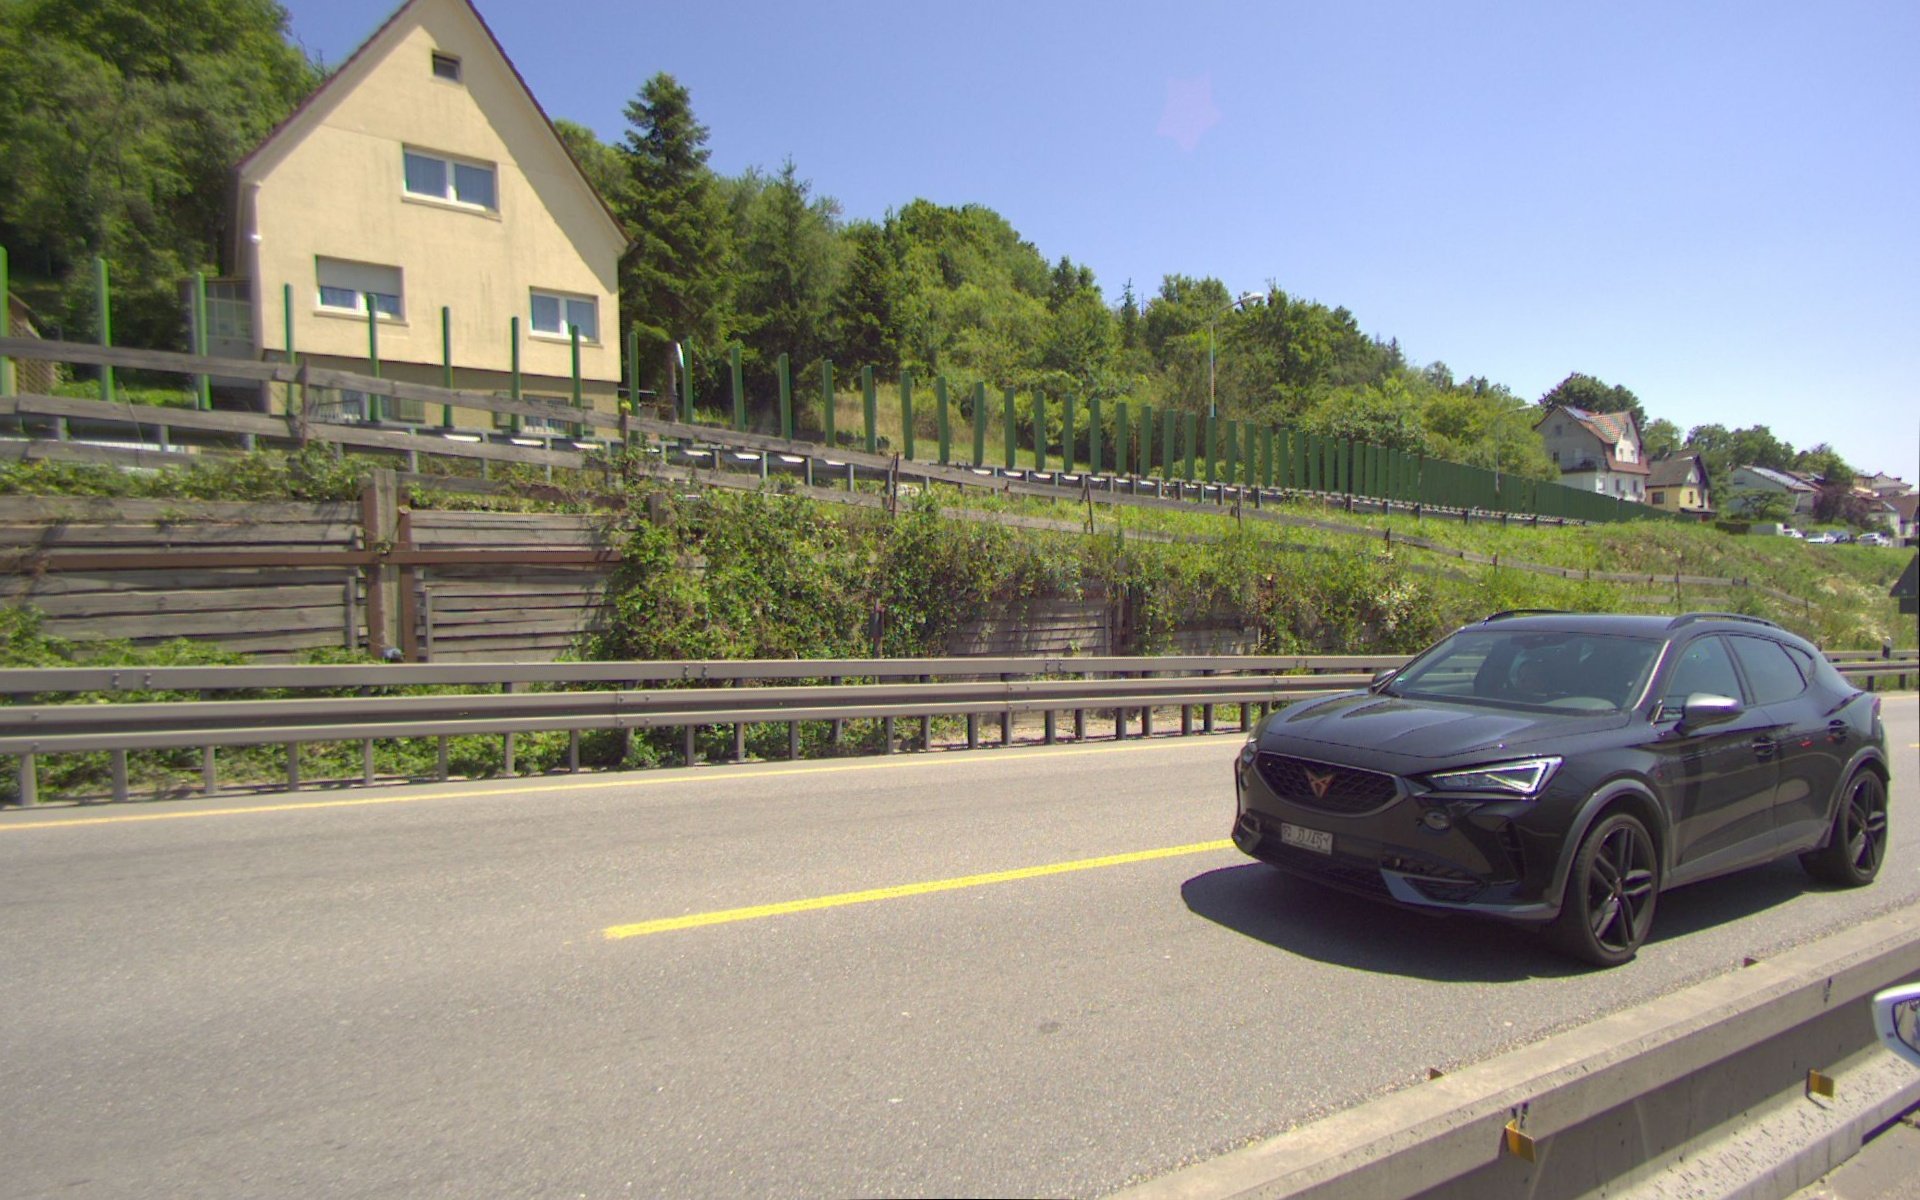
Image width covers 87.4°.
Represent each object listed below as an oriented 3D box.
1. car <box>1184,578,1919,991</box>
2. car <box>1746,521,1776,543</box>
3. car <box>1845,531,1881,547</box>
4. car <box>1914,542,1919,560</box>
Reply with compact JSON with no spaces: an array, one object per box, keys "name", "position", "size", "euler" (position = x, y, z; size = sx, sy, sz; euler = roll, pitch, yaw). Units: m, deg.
[{"name":"car","position":[3.494,0.756,5.651],"size":[4.244,1.550,1.834],"euler":[2,-1,-30]},{"name":"car","position":[62.127,-5.252,77.932],"size":[1.706,1.417,3.785],"euler":[3,1,38]},{"name":"car","position":[87.241,-5.877,97.037],"size":[3.968,1.337,1.976],"euler":[1,3,-41]},{"name":"car","position":[103.715,-5.257,107.534],"size":[3.967,1.751,1.909],"euler":[1,-1,-40]}]
